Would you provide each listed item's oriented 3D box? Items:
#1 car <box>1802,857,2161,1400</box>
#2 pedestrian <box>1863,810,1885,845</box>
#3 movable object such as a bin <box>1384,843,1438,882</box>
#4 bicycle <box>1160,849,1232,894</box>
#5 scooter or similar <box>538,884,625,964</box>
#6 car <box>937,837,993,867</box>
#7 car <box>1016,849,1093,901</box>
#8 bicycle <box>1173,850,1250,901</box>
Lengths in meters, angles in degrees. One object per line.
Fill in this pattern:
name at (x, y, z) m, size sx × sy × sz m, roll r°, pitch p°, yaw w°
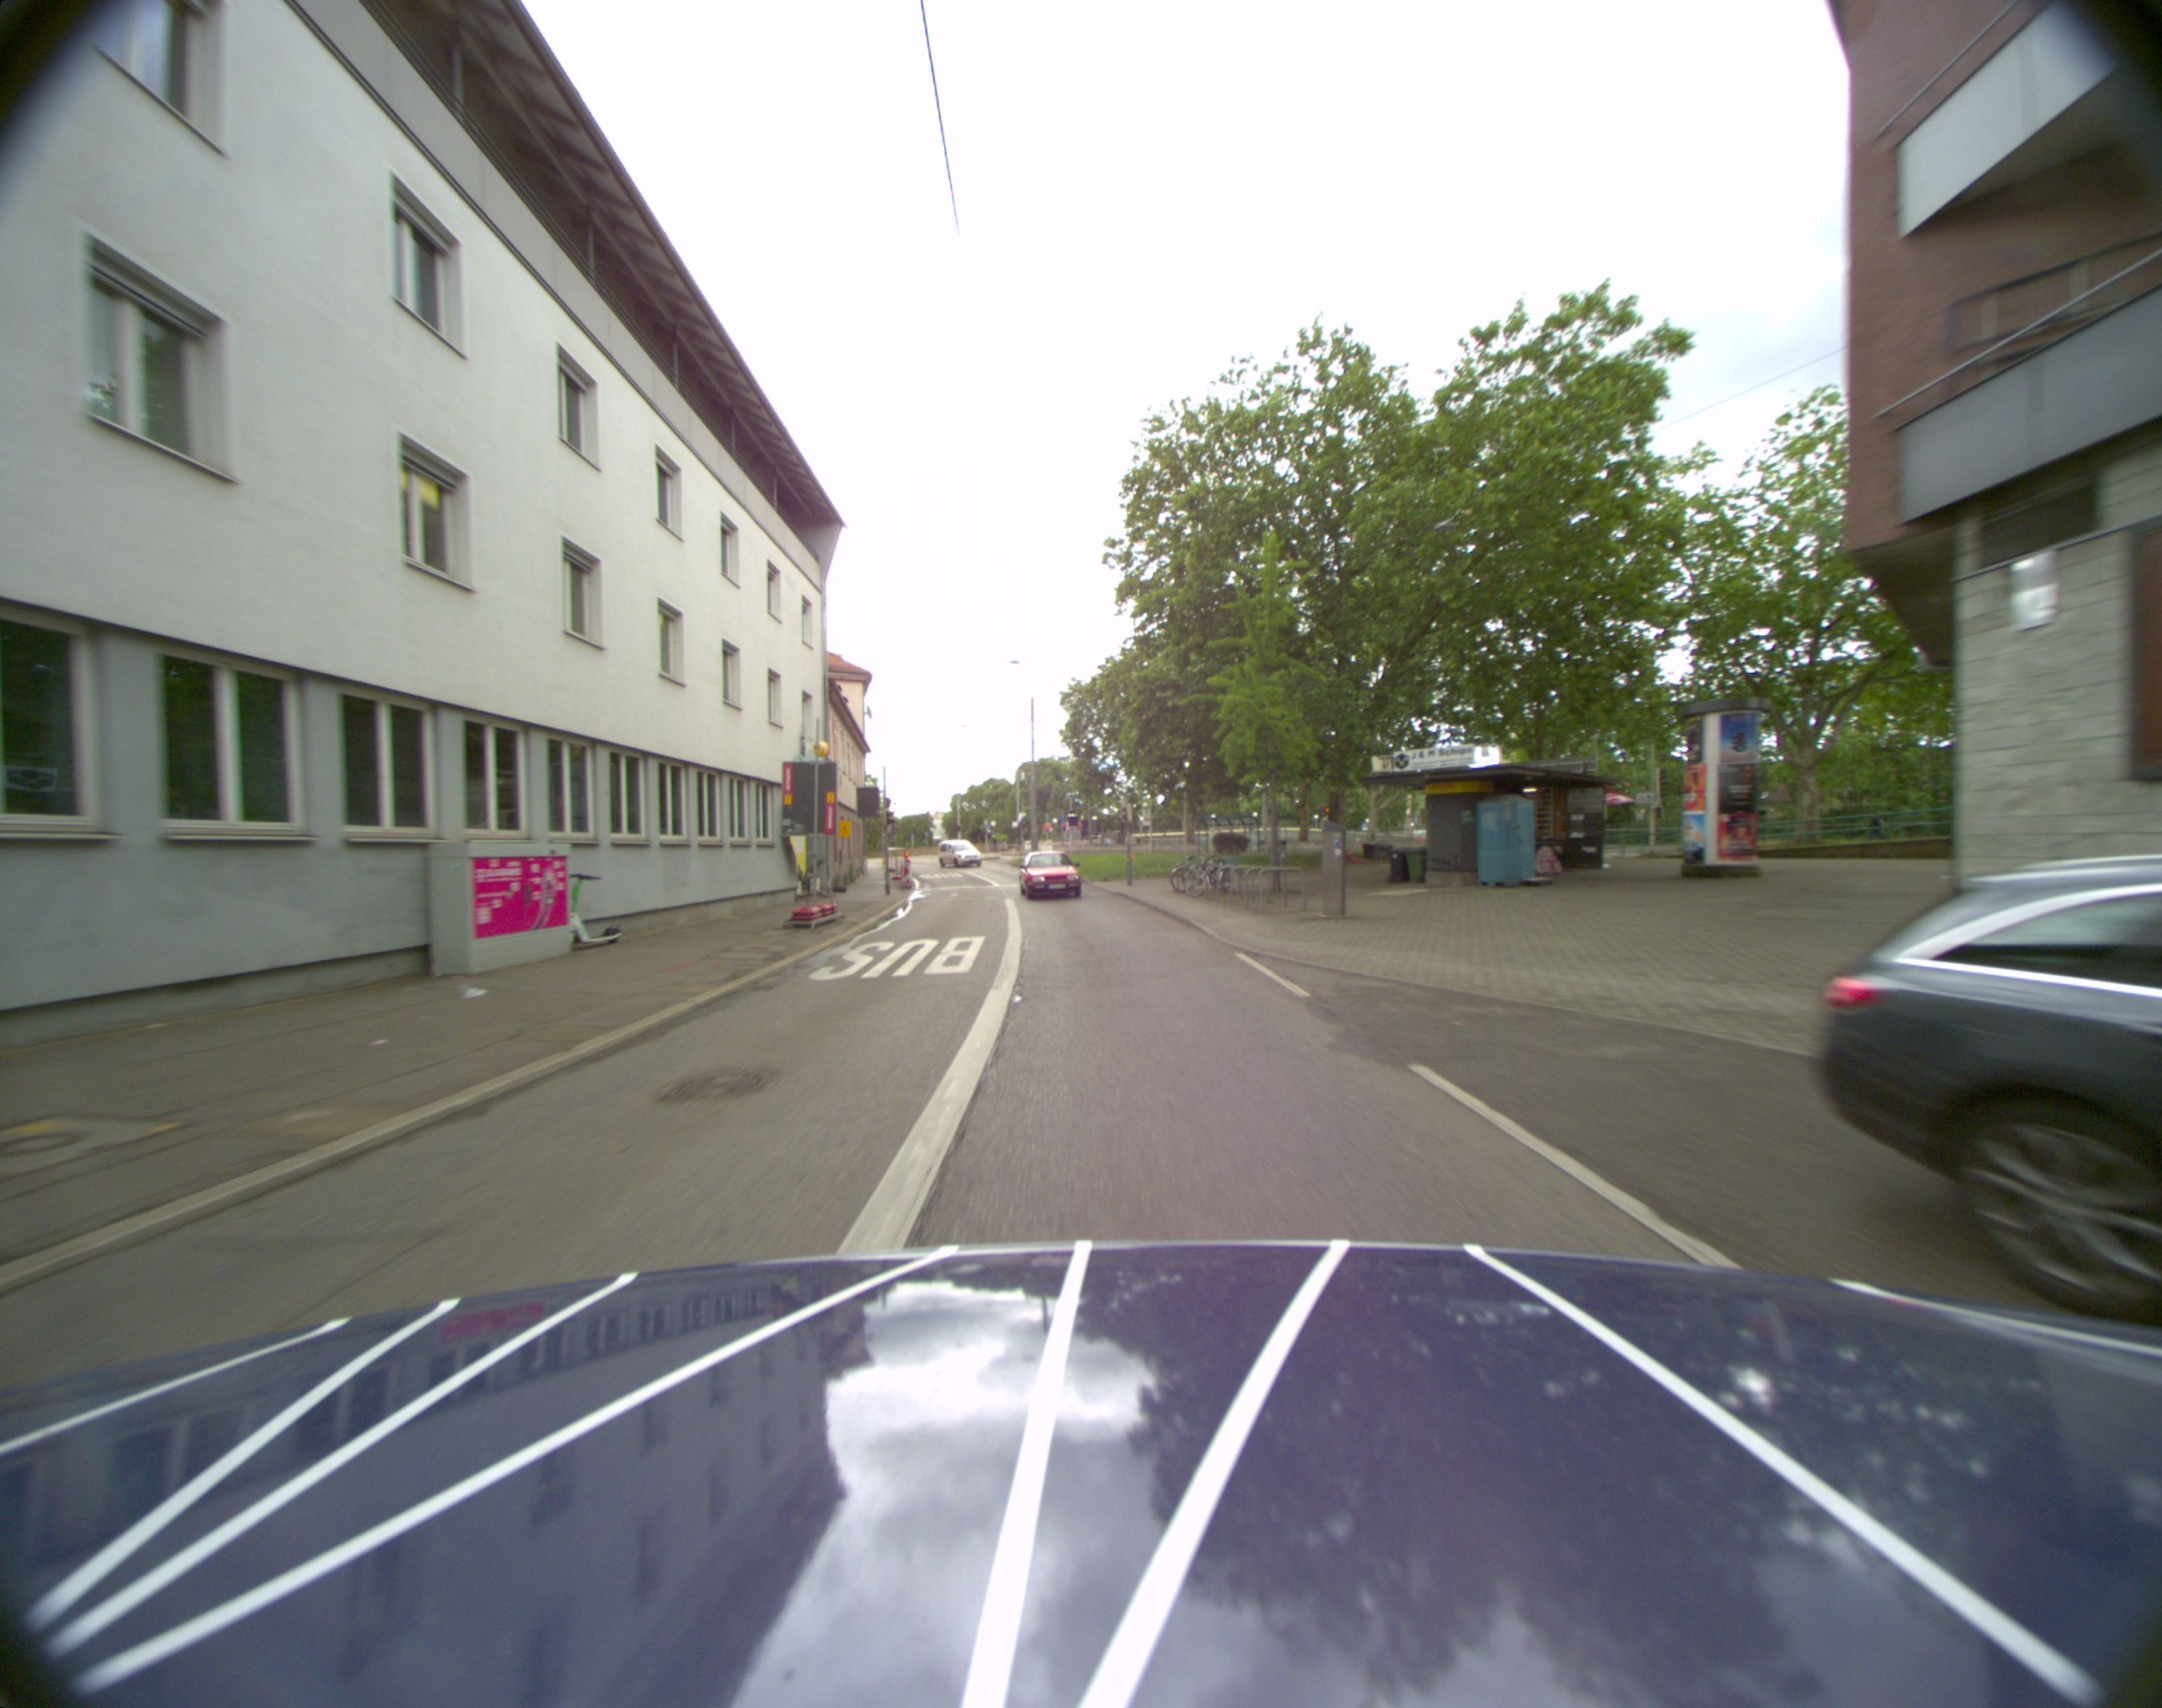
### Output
car at (3.901, 0.802, 0.856) m, size 1.833 × 1.447 × 4.583 m, roll -1°, pitch 1°, yaw 0°
pedestrian at (37.610, -1.269, 36.039) m, size 0.533 × 1.614 × 0.667 m, roll -1°, pitch 5°, yaw 30°
movable object such as a bin at (8.850, 0.244, 20.364) m, size 0.674 × 0.959 × 1.076 m, roll -7°, pitch 3°, yaw -39°
bicycle at (3.207, 0.477, 21.250) m, size 1.874 × 1.107 × 0.577 m, roll -4°, pitch 2°, yaw 0°
scooter or similar at (-7.619, 1.041, 11.650) m, size 0.429 × 1.091 × 1.438 m, roll 0°, pitch 1°, yaw -3°
car at (-8.048, -0.177, 52.285) m, size 2.077 × 1.776 × 4.445 m, roll -6°, pitch 5°, yaw -32°
car at (-0.938, 0.626, 24.293) m, size 1.851 × 1.414 × 4.170 m, roll -3°, pitch 0°, yaw -10°
bicycle at (3.427, 0.538, 19.916) m, size 1.809 × 1.170 × 0.723 m, roll -4°, pitch 2°, yaw -21°
